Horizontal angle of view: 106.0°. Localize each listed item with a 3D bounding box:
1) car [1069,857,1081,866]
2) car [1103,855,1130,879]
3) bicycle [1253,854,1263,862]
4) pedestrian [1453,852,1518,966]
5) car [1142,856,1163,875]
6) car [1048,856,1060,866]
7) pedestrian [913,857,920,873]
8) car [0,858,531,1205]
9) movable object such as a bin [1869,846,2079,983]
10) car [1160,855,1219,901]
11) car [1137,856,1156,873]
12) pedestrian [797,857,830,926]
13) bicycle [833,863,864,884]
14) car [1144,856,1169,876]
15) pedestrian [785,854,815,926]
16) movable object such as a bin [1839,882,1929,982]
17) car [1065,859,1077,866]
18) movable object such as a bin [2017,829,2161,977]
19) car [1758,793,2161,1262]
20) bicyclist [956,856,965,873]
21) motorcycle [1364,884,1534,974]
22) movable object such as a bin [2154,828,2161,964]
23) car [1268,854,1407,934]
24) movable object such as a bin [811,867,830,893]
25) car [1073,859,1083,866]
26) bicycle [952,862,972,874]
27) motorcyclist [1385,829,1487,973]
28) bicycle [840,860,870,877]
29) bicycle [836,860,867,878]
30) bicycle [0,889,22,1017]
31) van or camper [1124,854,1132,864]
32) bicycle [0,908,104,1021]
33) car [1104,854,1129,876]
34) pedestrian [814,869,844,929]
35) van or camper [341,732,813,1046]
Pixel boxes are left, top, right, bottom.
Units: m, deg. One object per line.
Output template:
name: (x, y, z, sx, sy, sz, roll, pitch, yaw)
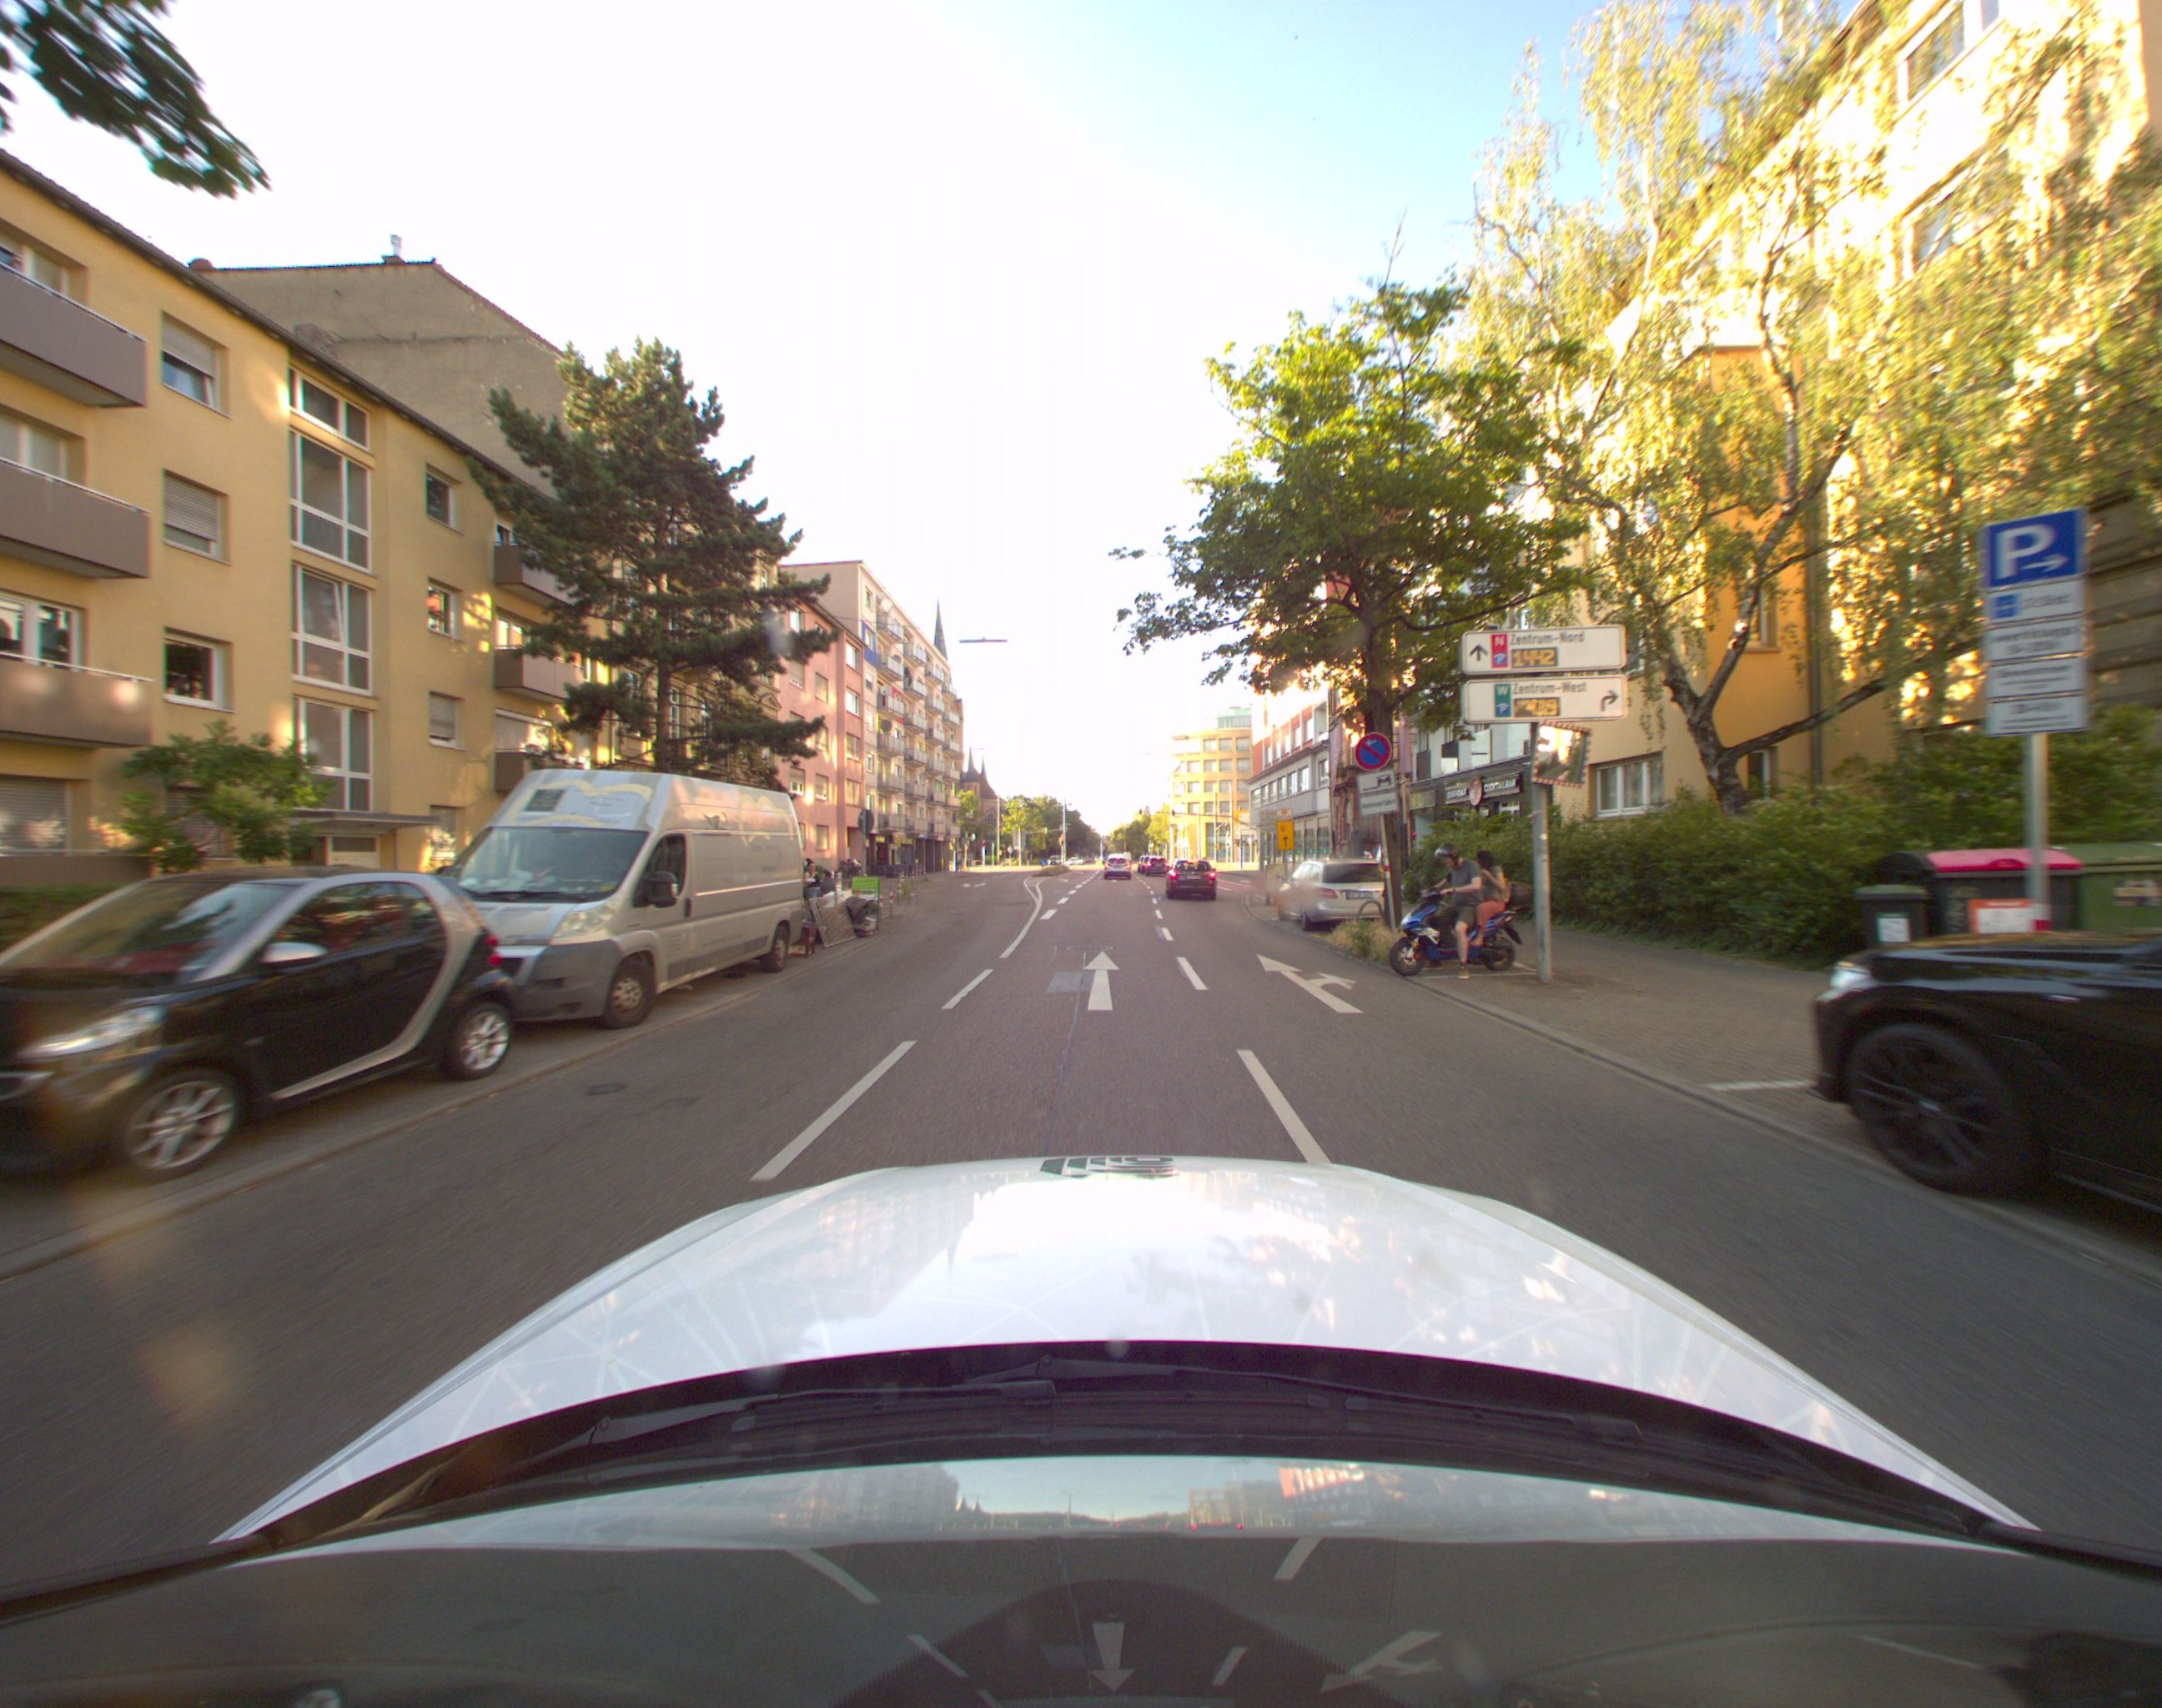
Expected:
car: (-1.078, 1.357, 146.168, 1.773, 1.464, 4.003, -1, 0, 3)
car: (2.340, 0.838, 53.950, 1.701, 1.510, 4.311, 0, 0, 2)
bicycle: (27.513, 0.651, 126.777, 1.510, 1.172, 0.476, -1, 0, 8)
pedestrian: (5.300, 0.696, 10.695, 0.438, 1.430, 0.702, 0, 0, -10)
car: (5.879, 0.911, 67.251, 1.484, 1.505, 3.479, -1, 0, 1)
car: (-4.626, 1.251, 140.242, 1.773, 1.647, 4.003, -1, 0, 3)
pedestrian: (-14.393, 0.982, 71.251, 0.479, 1.384, 0.484, -1, -1, 22)
car: (-5.190, 0.821, 5.144, 1.398, 1.548, 2.764, 1, 0, 3)
movable object such as a bin: (10.012, 0.647, 9.204, 1.243, 1.441, 0.999, -1, 0, 16)
car: (3.919, 0.825, 29.860, 1.701, 1.457, 4.160, 3, 0, 2)
car: (5.841, 0.907, 72.891, 1.578, 1.446, 3.649, 1, 0, 2)
pedestrian: (-6.555, 0.893, 19.953, 0.603, 1.652, 0.696, 0, 0, -4)
bicycle: (-13.558, 1.118, 47.449, 1.677, 1.160, 0.492, -1, 0, -24)
car: (5.644, 0.885, 61.354, 1.644, 1.484, 4.241, 0, 0, 2)
pedestrian: (-6.588, 0.840, 19.139, 0.479, 1.652, 0.724, -1, 0, -4)
movable object such as a bin: (8.986, 0.860, 9.132, 0.490, 1.059, 0.550, -1, 0, 14)
car: (-1.628, 1.468, 139.604, 1.773, 1.236, 4.003, -1, 0, 3)
movable object such as a bin: (11.643, 0.510, 9.151, 1.154, 1.555, 0.992, -1, 0, -8)
car: (4.760, 0.598, 2.202, 1.941, 1.655, 4.797, -1, 0, 1)
bicyclist: (-12.069, 1.063, 81.533, 0.779, 1.660, 0.901, 0, -1, 2)
motorcycle: (4.832, 0.963, 10.749, 1.925, 1.071, 0.817, 0, 0, -10)
movable object such as a bin: (12.975, 0.474, 8.946, 1.154, 1.555, 0.992, -1, 0, -8)
car: (5.588, 0.795, 18.398, 1.848, 1.512, 4.839, -2, 0, 4)
movable object such as a bin: (-10.940, 1.102, 34.236, 0.643, 1.083, 0.578, 2, -2, -29)
car: (-0.566, 1.591, 157.177, 1.773, 1.236, 4.003, -1, 0, 3)
bicycle: (-11.839, 1.385, 81.035, 1.821, 1.188, 0.734, 0, 0, 1)
motorcyclist: (4.624, 0.581, 10.673, 0.736, 1.778, 1.085, 0, 0, -10)
bicycle: (-13.626, 0.871, 49.090, 1.671, 1.041, 0.547, 1, -1, -13)
bicycle: (-13.619, 0.902, 48.259, 1.667, 1.041, 0.548, 1, -1, -5)
bicycle: (-10.289, 0.874, 6.800, 1.935, 1.094, 0.609, -1, 0, -4)
van or camper: (12.627, 1.260, 218.952, 1.985, 2.640, 5.355, -1, 0, 4)
bicycle: (-10.329, 0.988, 7.528, 1.928, 0.925, 0.583, 2, 0, 2)
car: (2.642, 0.812, 60.844, 1.797, 1.568, 3.619, -1, 0, 1)
pedestrian: (-5.874, 1.048, 19.008, 0.557, 1.378, 0.480, 1, 0, -4)
van or camper: (-5.318, 0.315, 10.017, 2.029, 2.664, 6.013, 1, 0, -1)
